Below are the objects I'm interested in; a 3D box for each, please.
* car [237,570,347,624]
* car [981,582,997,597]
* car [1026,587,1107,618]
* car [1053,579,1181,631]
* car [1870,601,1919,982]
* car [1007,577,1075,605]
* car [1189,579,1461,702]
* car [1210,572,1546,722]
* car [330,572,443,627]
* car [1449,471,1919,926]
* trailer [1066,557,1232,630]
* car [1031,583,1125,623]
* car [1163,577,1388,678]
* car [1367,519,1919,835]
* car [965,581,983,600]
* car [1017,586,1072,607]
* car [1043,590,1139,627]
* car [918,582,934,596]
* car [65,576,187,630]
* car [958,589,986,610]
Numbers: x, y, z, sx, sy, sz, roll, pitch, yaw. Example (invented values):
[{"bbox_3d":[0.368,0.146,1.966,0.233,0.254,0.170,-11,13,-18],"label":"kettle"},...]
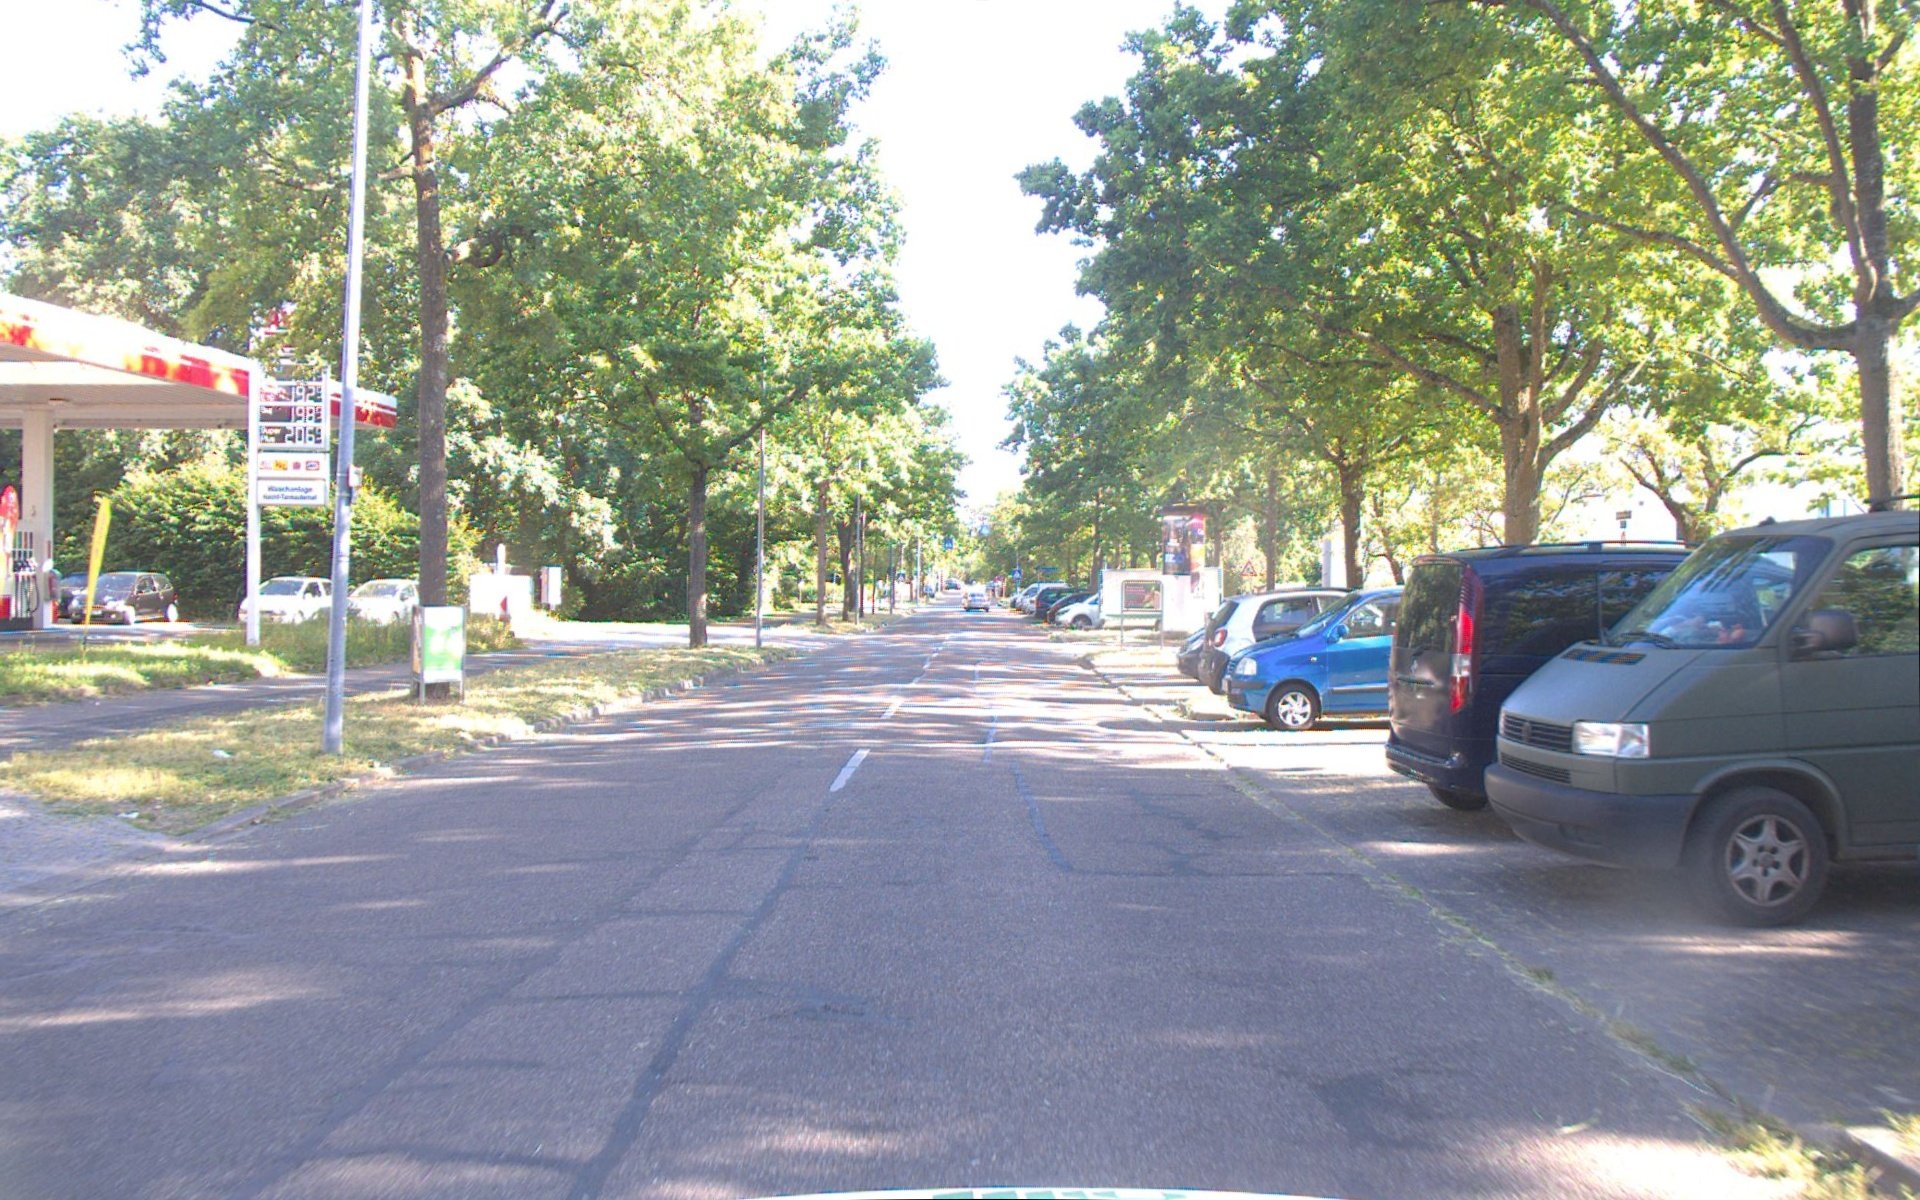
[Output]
[{"bbox_3d":[-18.605,-0.090,46.191,1.392,1.391,3.208,2,1,8],"label":"car"},{"bbox_3d":[3.581,-1.294,204.806,1.953,1.746,4.000,1,0,0],"label":"car"},{"bbox_3d":[6.086,0.143,94.884,4.574,1.608,1.917,-1,1,1],"label":"car"},{"bbox_3d":[5.753,0.181,61.024,4.546,1.752,1.988,-2,0,1],"label":"car"},{"bbox_3d":[5.551,0.697,5.669,3.907,1.428,1.739,-1,0,0],"label":"car"},{"bbox_3d":[6.237,-0.683,128.019,5.082,2.142,2.082,0,0,-1],"label":"car"},{"bbox_3d":[5.132,0.557,23.621,3.509,1.604,1.787,-1,0,2],"label":"car"},{"bbox_3d":[4.713,0.514,19.012,3.448,1.559,1.665,-1,0,2],"label":"car"},{"bbox_3d":[-16.022,-0.032,46.362,1.513,1.447,3.490,2,1,8],"label":"car"},{"bbox_3d":[5.182,0.421,8.569,4.705,2.067,1.944,-1,0,0],"label":"car"},{"bbox_3d":[6.599,-0.238,58.215,5.654,2.358,1.686,-2,0,2],"label":"trailer"},{"bbox_3d":[5.734,0.138,80.617,4.437,1.832,1.936,-1,0,0],"label":"car"},{"bbox_3d":[5.401,0.461,28.617,3.510,1.604,1.857,-1,0,-1],"label":"car"},{"bbox_3d":[4.945,0.453,11.118,3.928,1.869,1.798,-1,0,-2],"label":"car"},{"bbox_3d":[1.526,-1.065,183.816,1.953,1.966,4.000,1,0,0],"label":"car"},{"bbox_3d":[6.138,-0.262,120.245,3.904,1.458,1.901,0,0,2],"label":"car"},{"bbox_3d":[5.804,0.346,73.718,4.157,1.545,2.078,-1,0,2],"label":"car"},{"bbox_3d":[-4.327,-1.434,210.961,1.953,1.746,4.000,1,0,0],"label":"car"},{"bbox_3d":[-23.097,0.072,45.915,1.392,1.391,3.208,2,1,8],"label":"car"},{"bbox_3d":[0.870,-0.073,122.507,1.953,1.510,3.999,0,0,-1],"label":"car"}]
